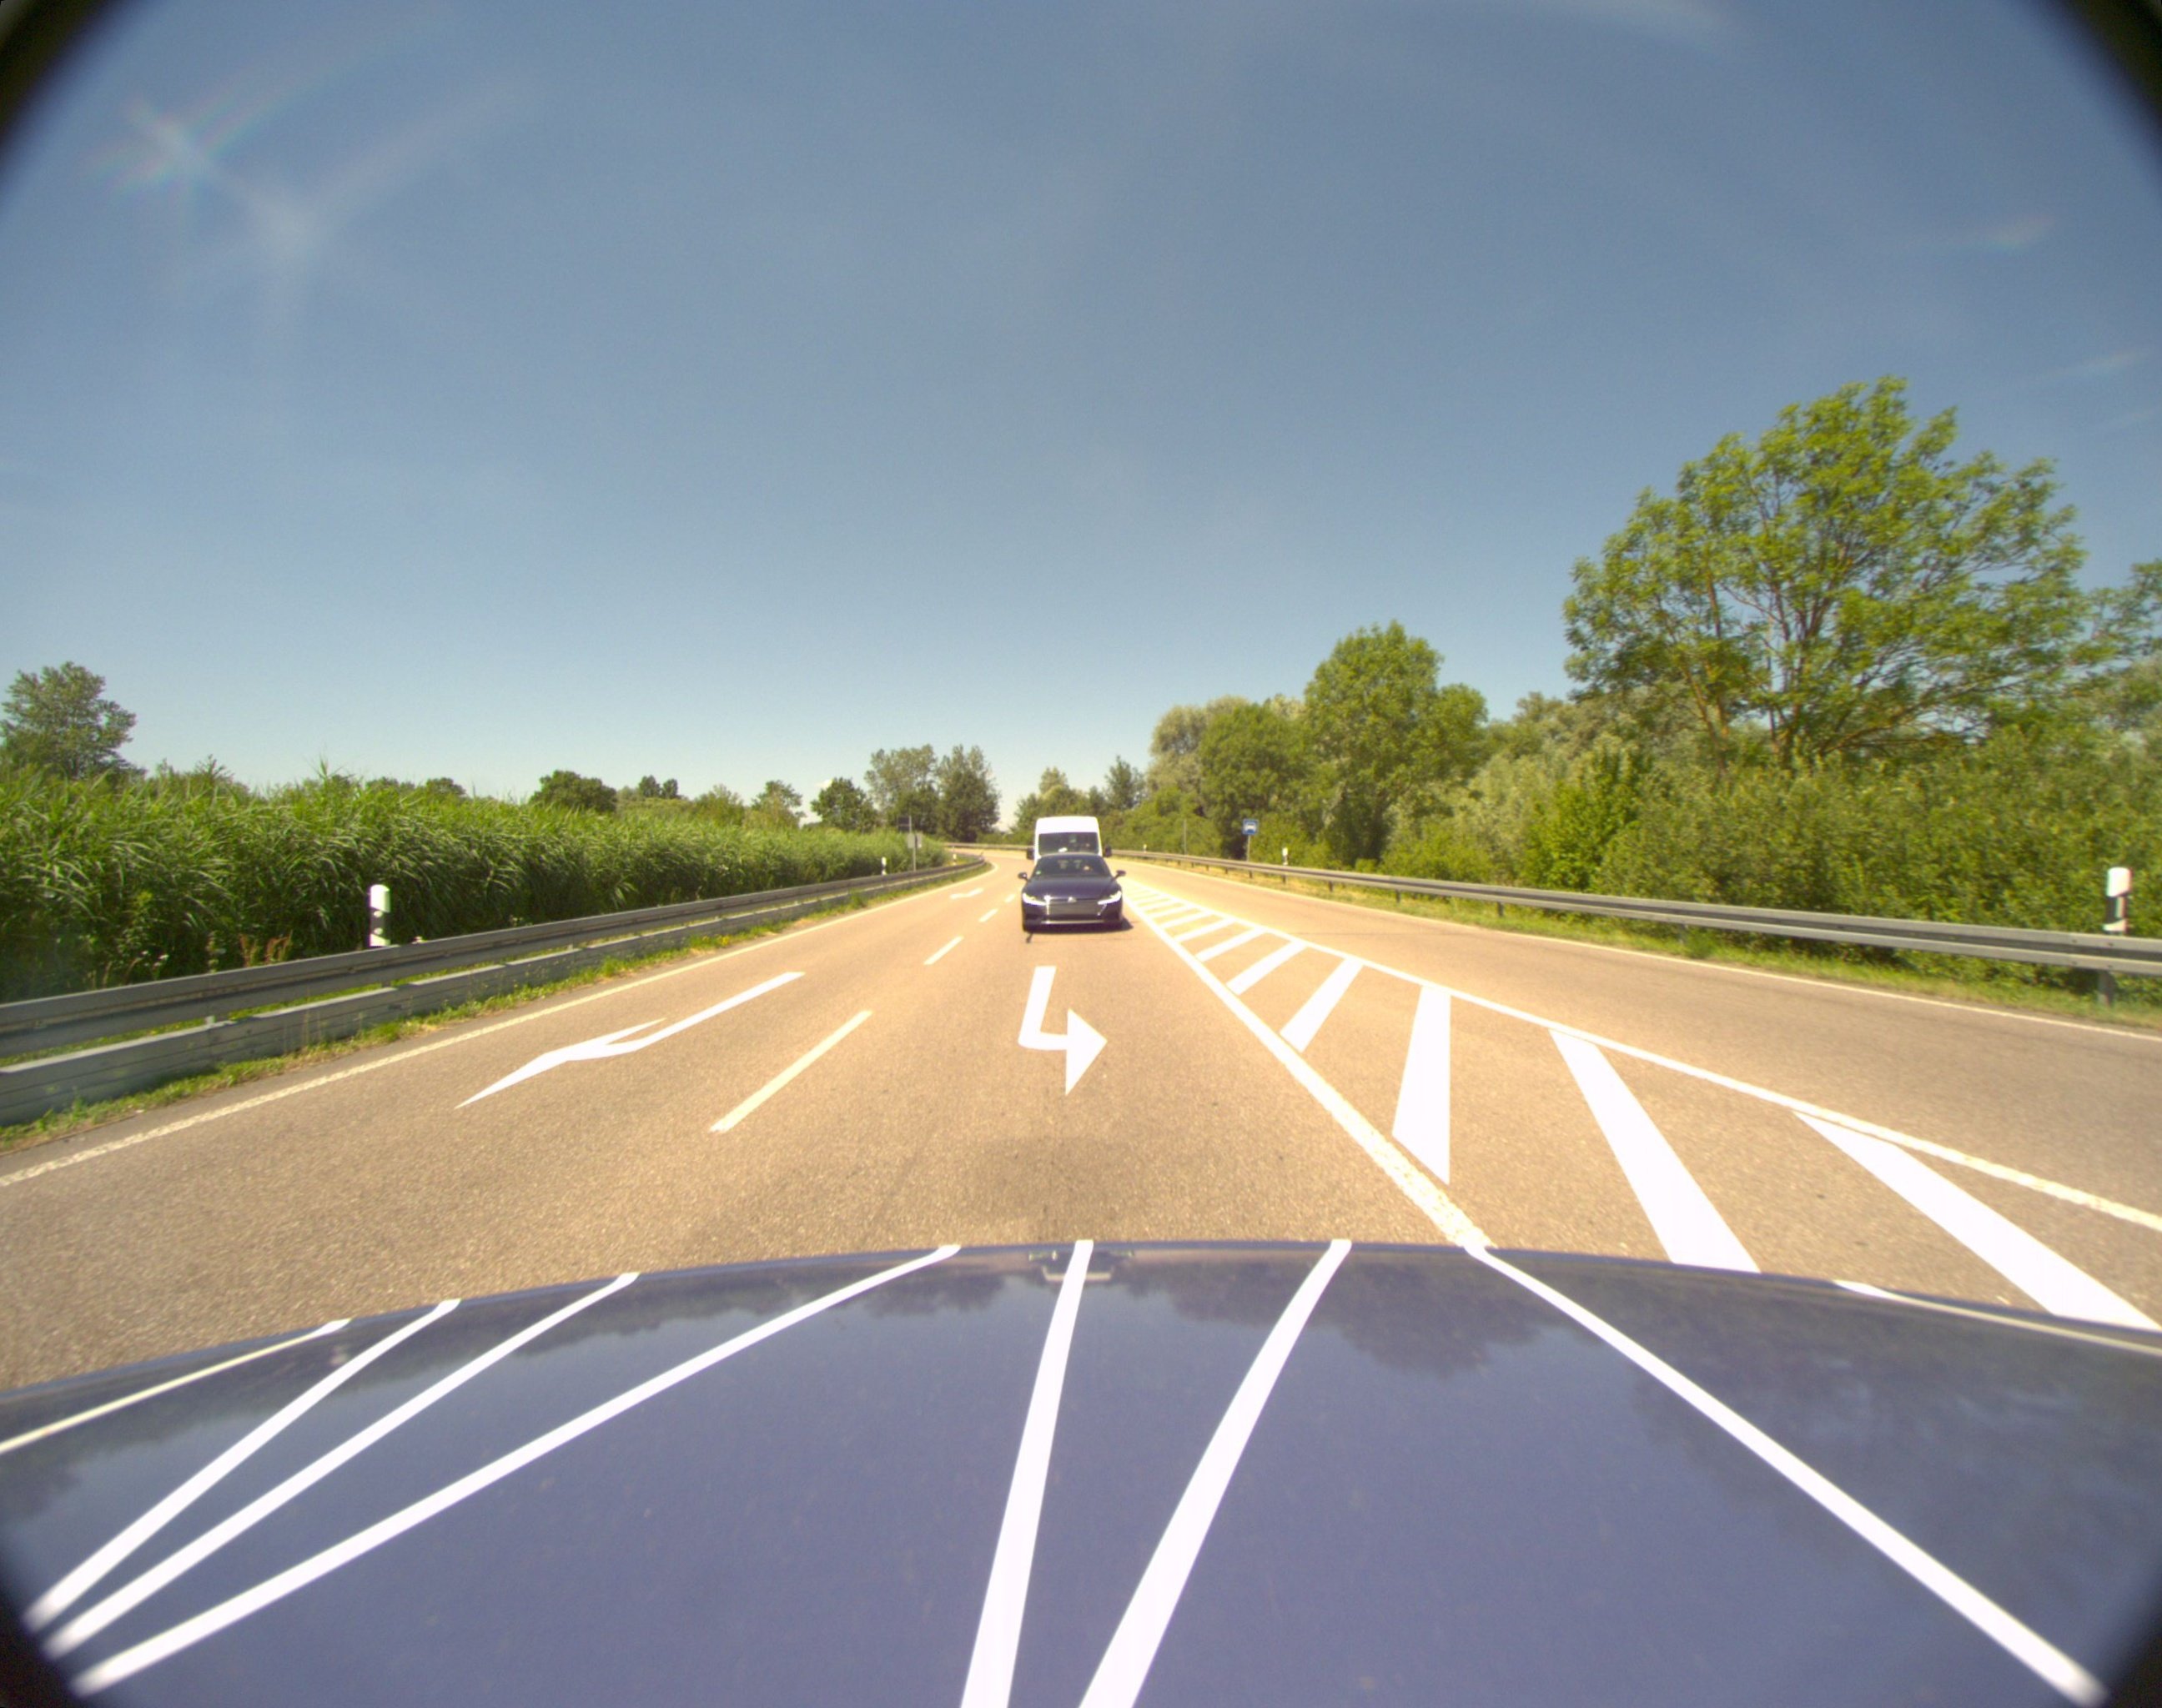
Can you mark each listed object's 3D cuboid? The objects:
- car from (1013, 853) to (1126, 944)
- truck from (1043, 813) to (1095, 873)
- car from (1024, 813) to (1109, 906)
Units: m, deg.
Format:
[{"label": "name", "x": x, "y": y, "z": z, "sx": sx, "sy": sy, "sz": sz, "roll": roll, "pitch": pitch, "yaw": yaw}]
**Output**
[{"label": "car", "x": -0.168, "y": 0.741, "z": 15.003, "sx": 1.847, "sy": 1.415, "sz": 4.562, "roll": -1, "pitch": 1, "yaw": 1}, {"label": "truck", "x": -0.866, "y": -0.640, "z": 45.425, "sx": 2.694, "sy": 3.177, "sz": 9.173, "roll": -1, "pitch": 1, "yaw": -3}, {"label": "car", "x": -0.361, "y": 0.115, "z": 23.816, "sx": 2.228, "sy": 2.481, "sz": 5.982, "roll": -2, "pitch": 1, "yaw": 1}]
